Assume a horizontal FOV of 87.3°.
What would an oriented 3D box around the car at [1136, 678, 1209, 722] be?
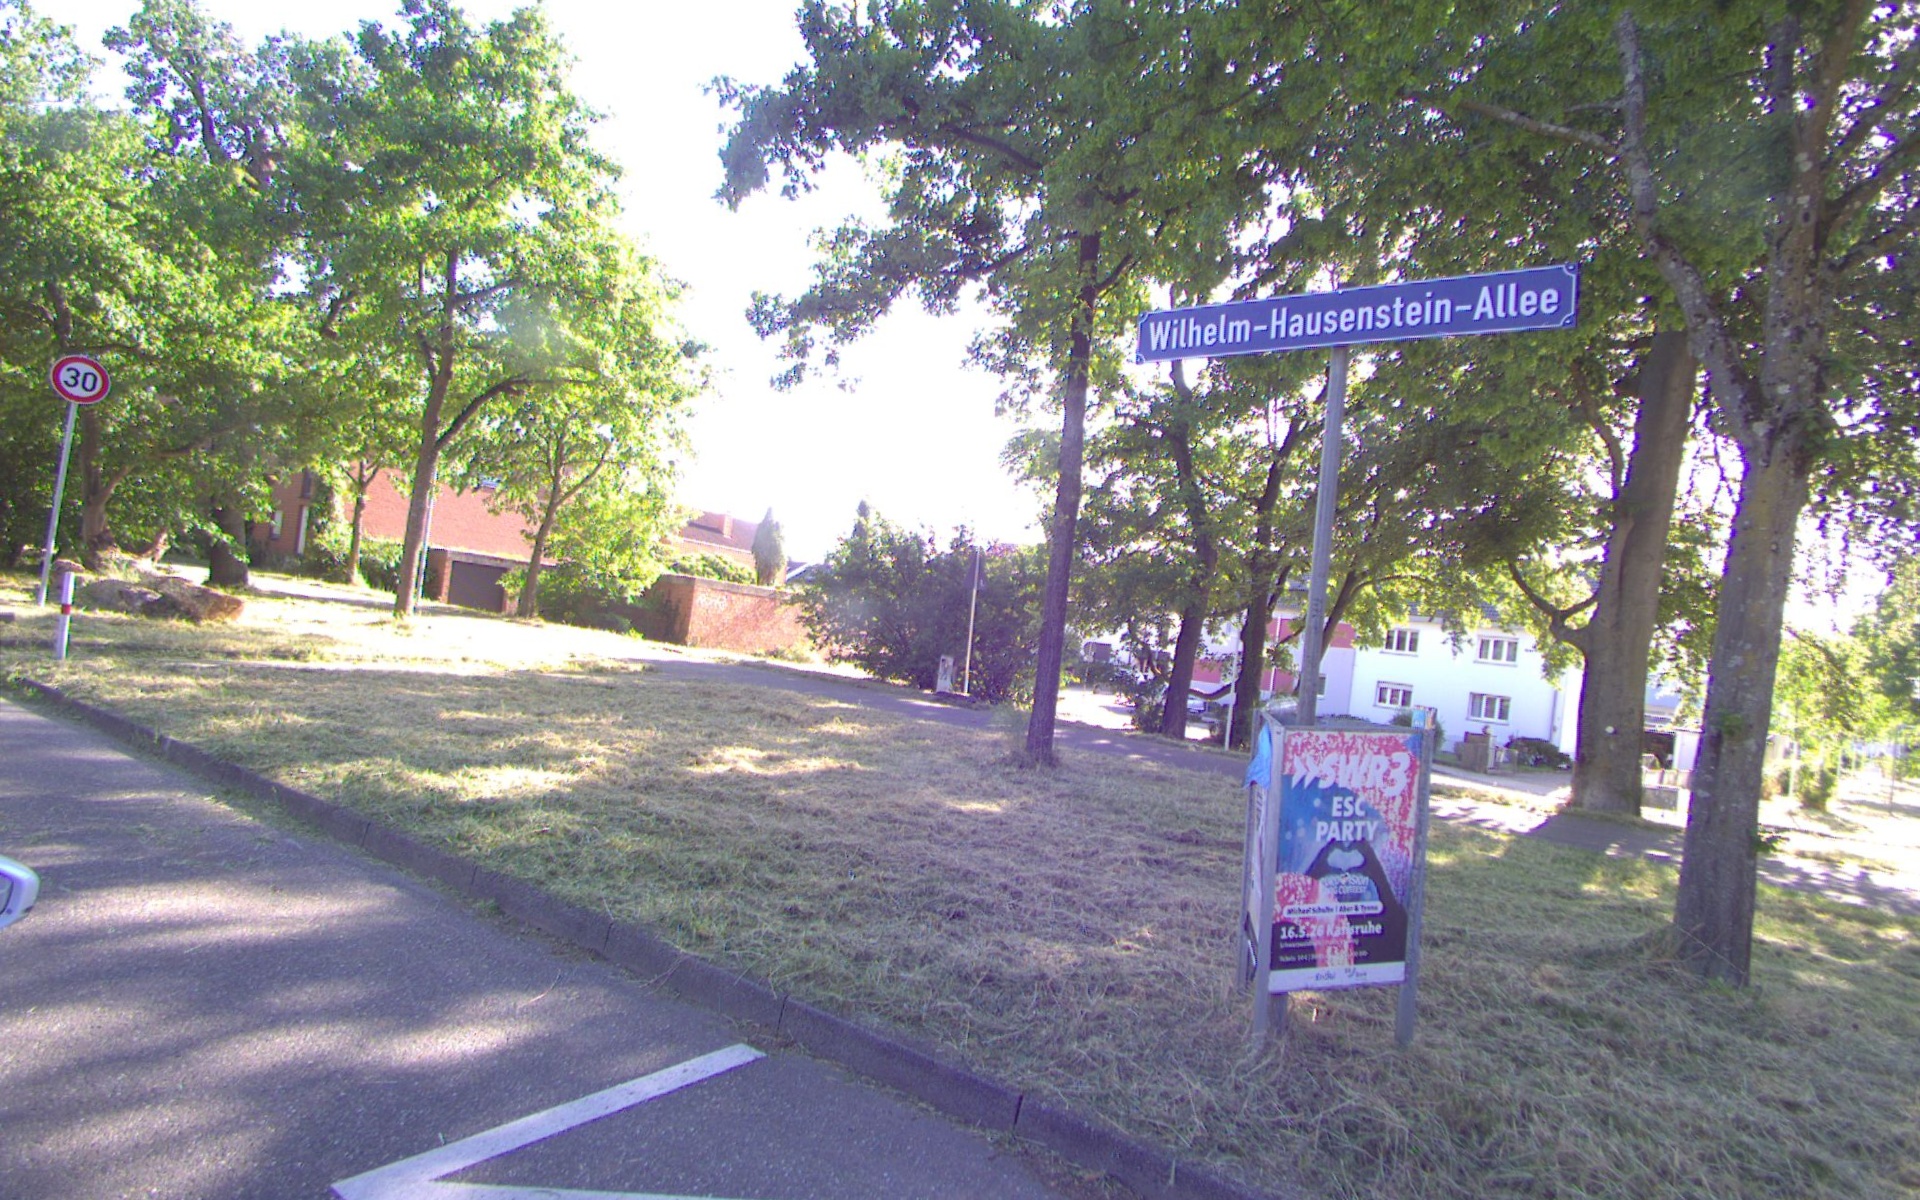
[{"bbox_3d":[10.096,4.749,47.958,1.514,1.569,3.160,9,-2,-30],"label":"car"}]
